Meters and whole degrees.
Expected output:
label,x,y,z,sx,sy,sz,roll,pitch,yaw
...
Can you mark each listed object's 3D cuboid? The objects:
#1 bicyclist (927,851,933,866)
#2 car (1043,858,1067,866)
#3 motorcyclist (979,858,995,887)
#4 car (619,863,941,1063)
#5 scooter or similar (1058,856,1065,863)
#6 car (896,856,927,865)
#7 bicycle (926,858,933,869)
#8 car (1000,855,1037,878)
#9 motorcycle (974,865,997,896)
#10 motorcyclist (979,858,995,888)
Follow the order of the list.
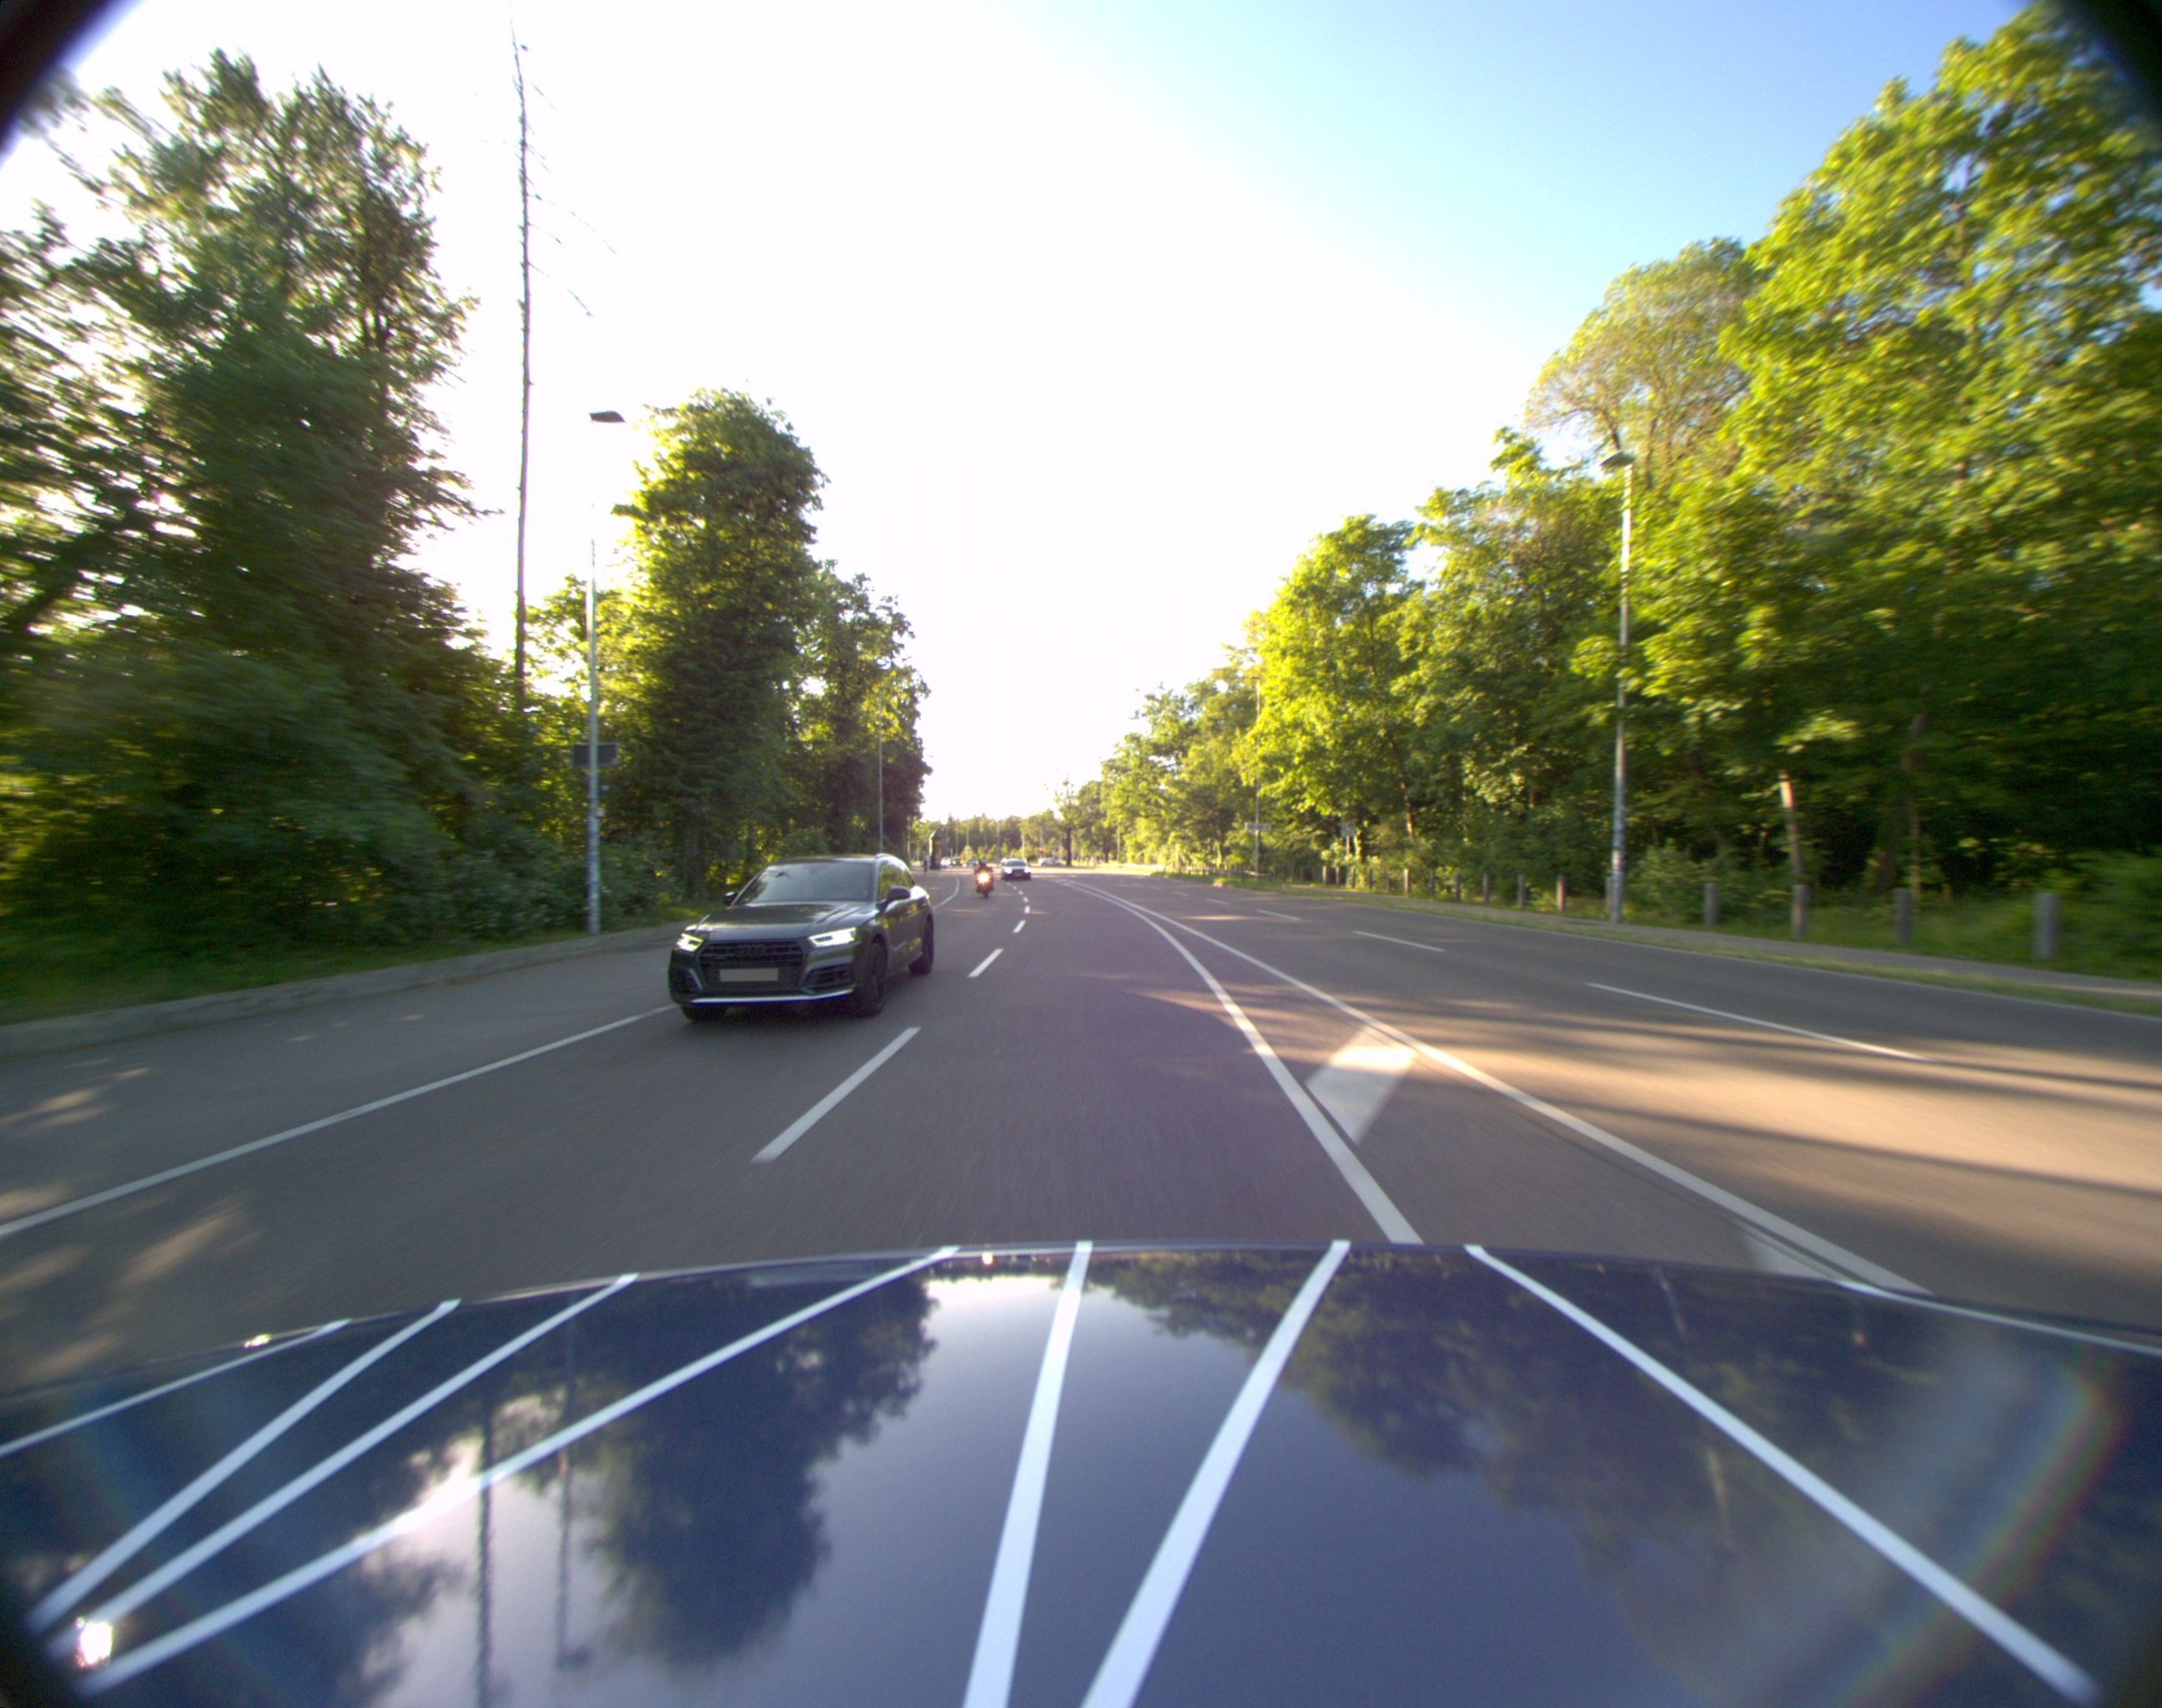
label,x,y,z,sx,sy,sz,roll,pitch,yaw
bicyclist,-15.352,0.453,77.033,0.522,1.460,0.860,-1,1,-14
car,-4.924,1.454,144.231,4.299,1.504,1.839,-1,0,-5
motorcyclist,-4.150,0.811,33.513,0.672,1.257,0.825,-1,1,-7
car,-2.980,0.953,8.750,1.898,1.596,4.544,-1,0,-1
scooter or similar,-3.382,0.929,130.612,1.070,1.140,0.394,0,-1,-5
car,-26.537,1.029,119.092,4.385,1.370,1.819,1,0,-5
bicycle,-15.311,0.951,76.891,0.556,1.130,1.862,-1,0,-14
car,-4.532,0.878,54.606,1.869,1.538,4.790,-1,0,-15
motorcycle,-4.112,1.110,32.778,0.916,1.243,2.961,0,0,-7
motorcyclist,-4.045,0.815,32.647,0.672,1.257,0.825,-1,1,-7
